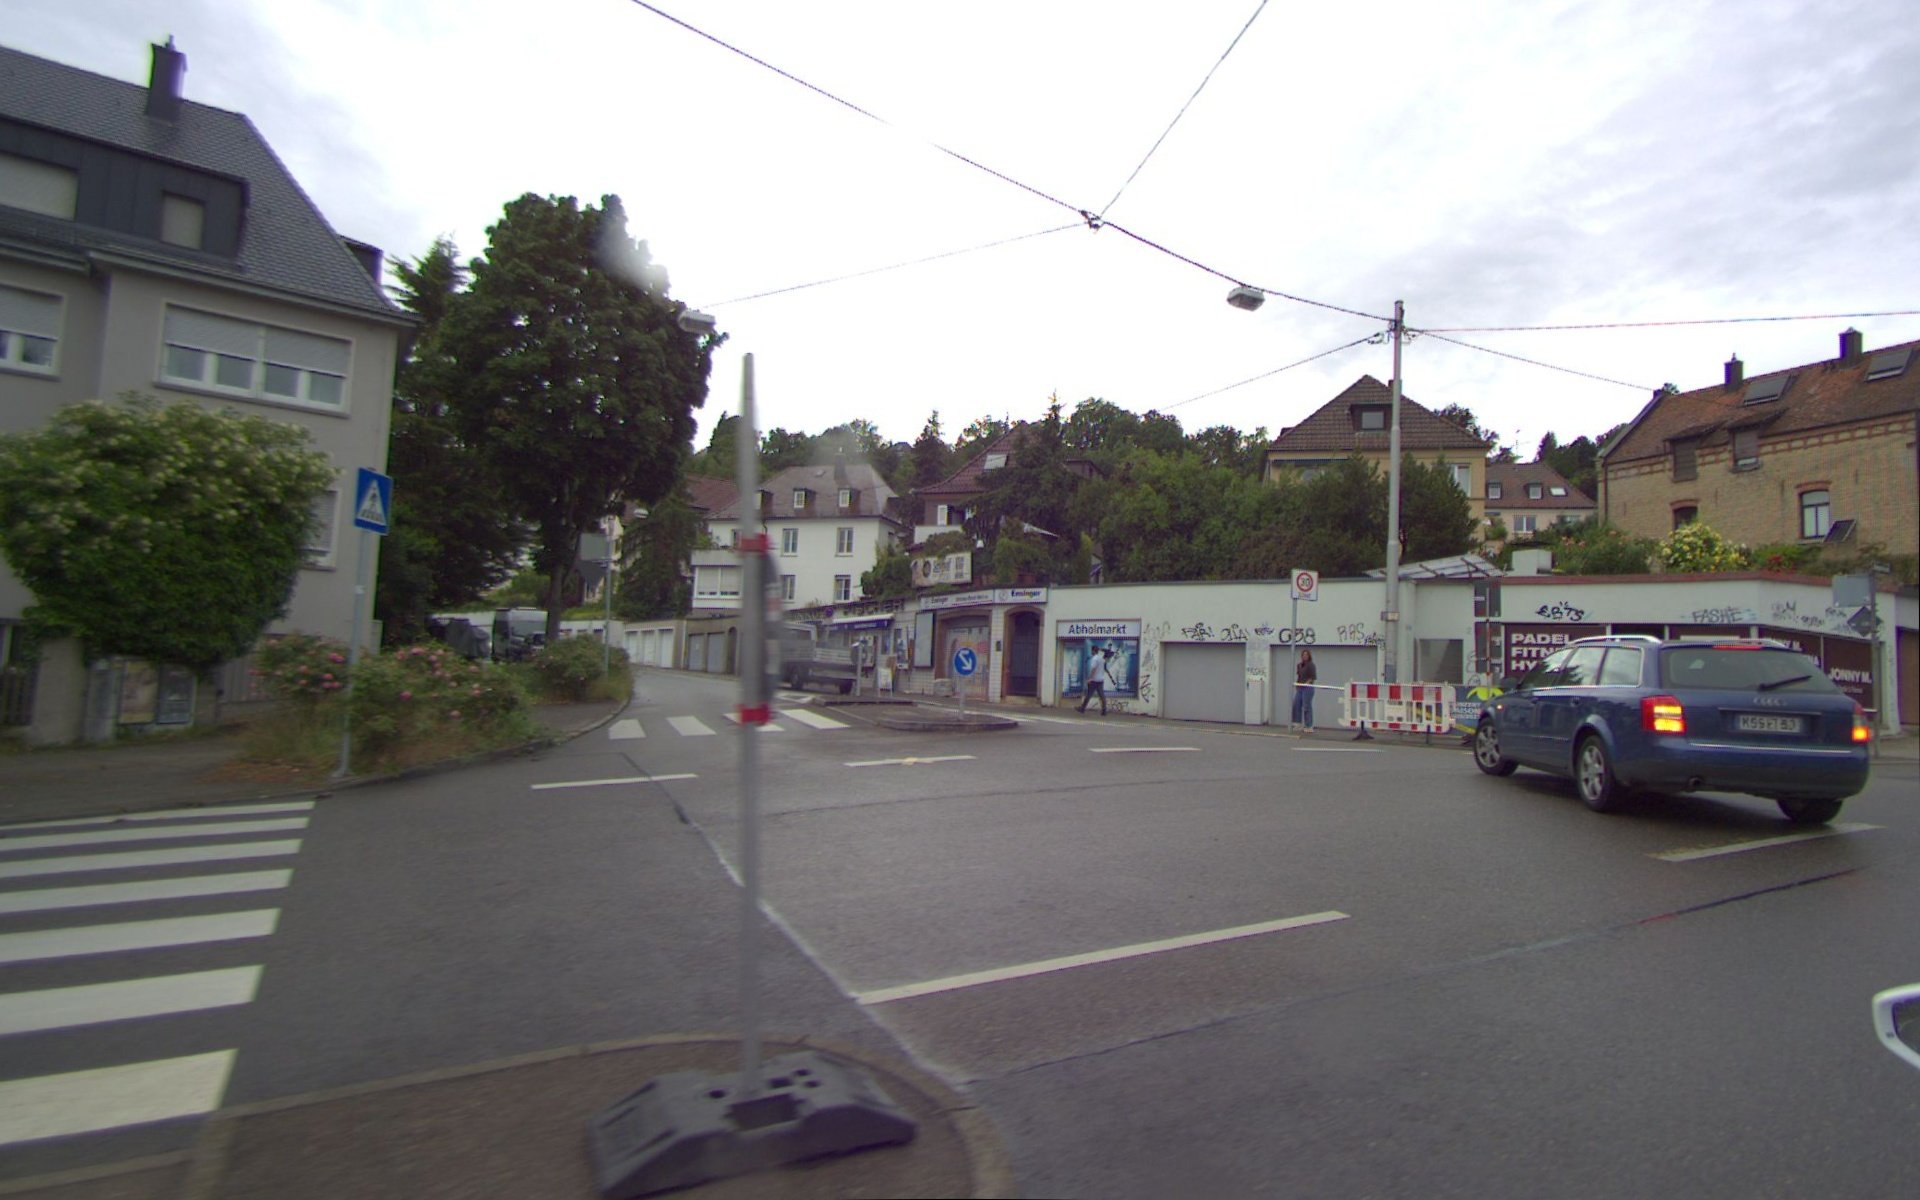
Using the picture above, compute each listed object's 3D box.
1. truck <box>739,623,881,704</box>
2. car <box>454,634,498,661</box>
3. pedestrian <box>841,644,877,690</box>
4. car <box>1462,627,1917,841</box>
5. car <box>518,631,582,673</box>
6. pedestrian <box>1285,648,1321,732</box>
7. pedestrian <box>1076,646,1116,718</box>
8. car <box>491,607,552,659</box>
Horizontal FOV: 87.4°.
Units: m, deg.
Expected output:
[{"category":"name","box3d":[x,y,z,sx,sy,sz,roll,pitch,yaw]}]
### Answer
[{"category":"truck","box3d":[-5.264,2.042,34.202,2.287,2.299,6.755,-4,1,-30]},{"category":"car","box3d":[-26.473,2.587,54.846,1.719,1.382,3.965,2,-3,-32]},{"category":"pedestrian","box3d":[-3.534,2.339,35.142,0.880,1.525,0.971,2,-1,-30]},{"category":"car","box3d":[6.226,1.065,9.250,1.780,1.458,4.085,1,-3,10]},{"category":"car","box3d":[-16.211,2.030,39.613,1.527,1.548,3.644,2,-3,-35]},{"category":"pedestrian","box3d":[7.083,1.850,20.759,0.572,1.711,0.627,0,-4,8]},{"category":"pedestrian","box3d":[3.576,2.131,26.376,0.695,1.829,0.806,0,-2,36]},{"category":"car","box3d":[-19.361,1.471,44.241,1.817,2.151,5.000,2,-2,-31]}]
